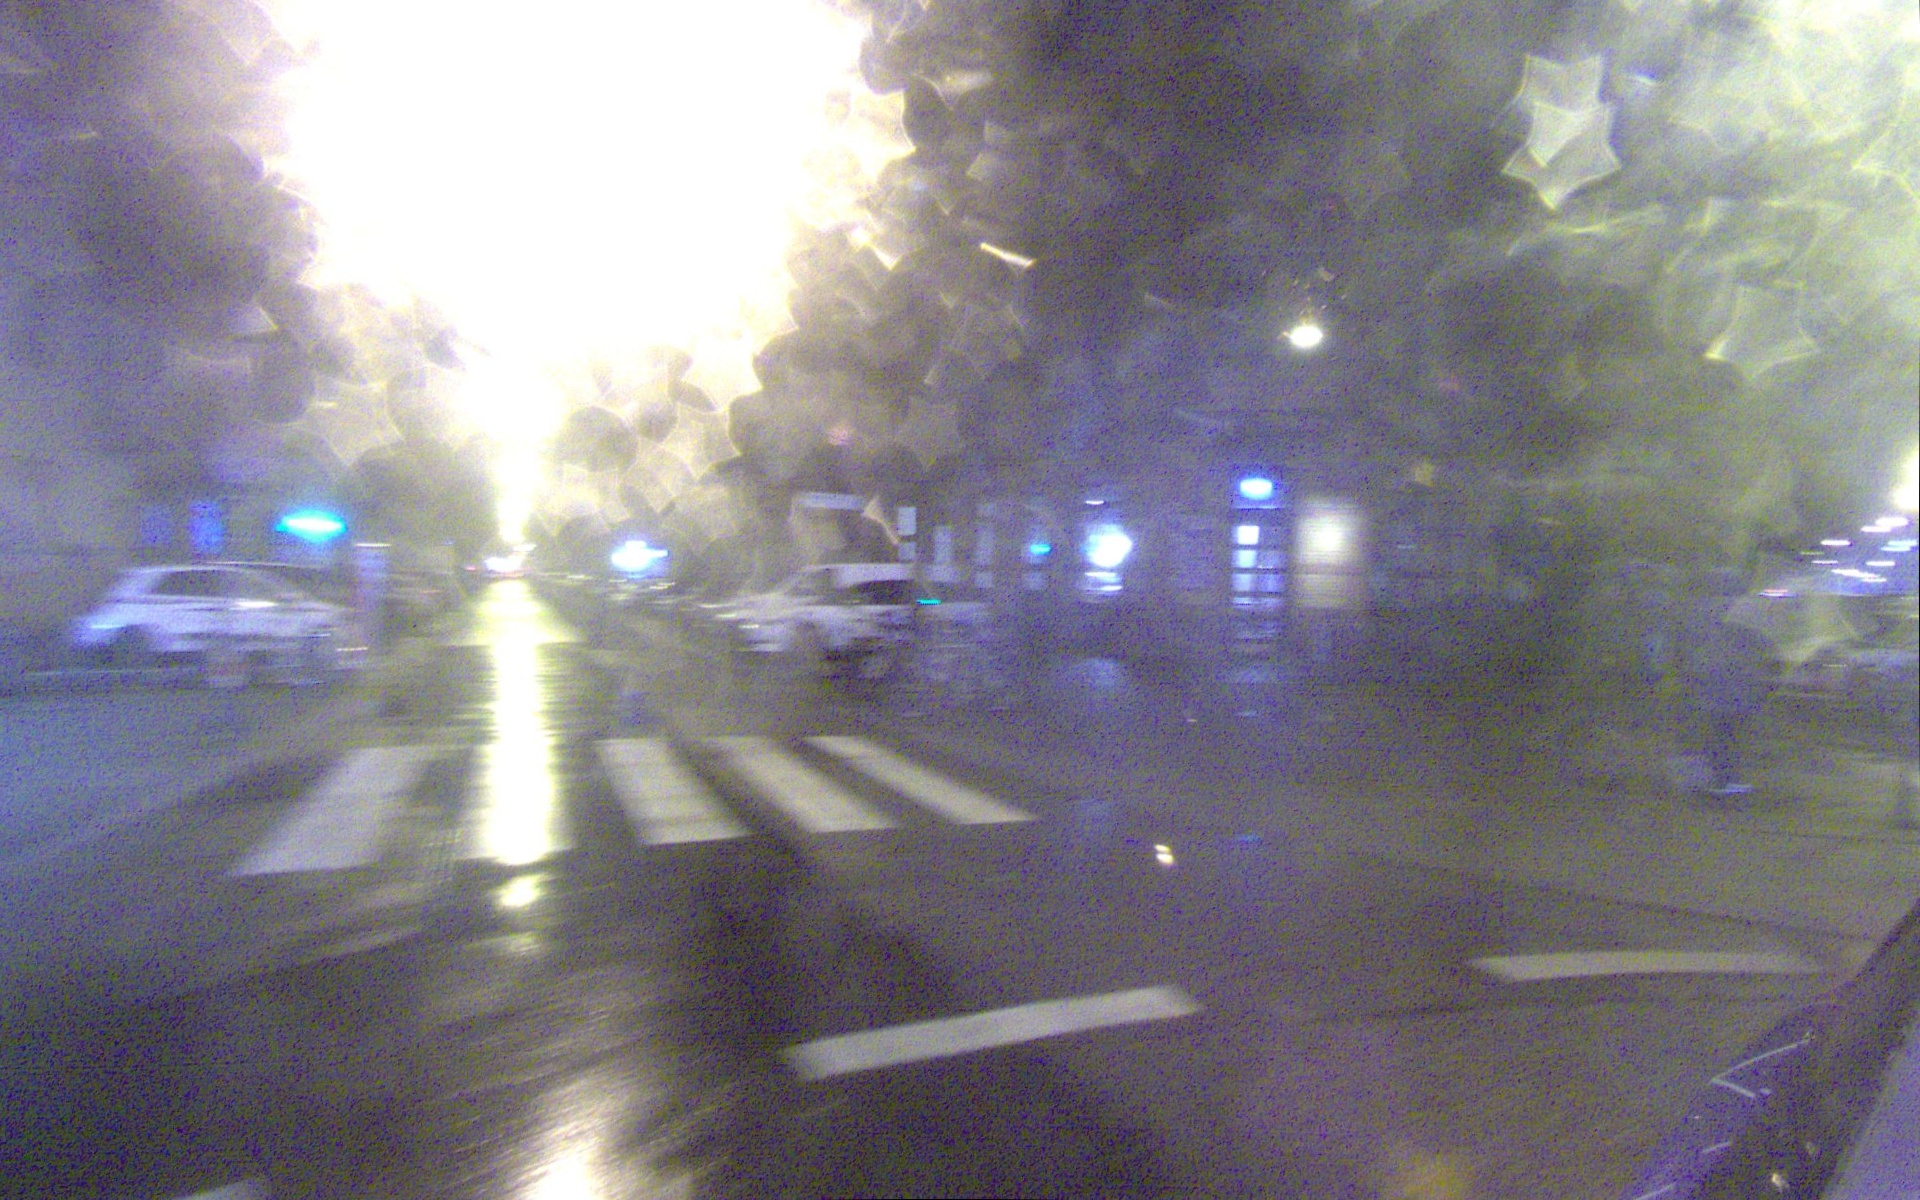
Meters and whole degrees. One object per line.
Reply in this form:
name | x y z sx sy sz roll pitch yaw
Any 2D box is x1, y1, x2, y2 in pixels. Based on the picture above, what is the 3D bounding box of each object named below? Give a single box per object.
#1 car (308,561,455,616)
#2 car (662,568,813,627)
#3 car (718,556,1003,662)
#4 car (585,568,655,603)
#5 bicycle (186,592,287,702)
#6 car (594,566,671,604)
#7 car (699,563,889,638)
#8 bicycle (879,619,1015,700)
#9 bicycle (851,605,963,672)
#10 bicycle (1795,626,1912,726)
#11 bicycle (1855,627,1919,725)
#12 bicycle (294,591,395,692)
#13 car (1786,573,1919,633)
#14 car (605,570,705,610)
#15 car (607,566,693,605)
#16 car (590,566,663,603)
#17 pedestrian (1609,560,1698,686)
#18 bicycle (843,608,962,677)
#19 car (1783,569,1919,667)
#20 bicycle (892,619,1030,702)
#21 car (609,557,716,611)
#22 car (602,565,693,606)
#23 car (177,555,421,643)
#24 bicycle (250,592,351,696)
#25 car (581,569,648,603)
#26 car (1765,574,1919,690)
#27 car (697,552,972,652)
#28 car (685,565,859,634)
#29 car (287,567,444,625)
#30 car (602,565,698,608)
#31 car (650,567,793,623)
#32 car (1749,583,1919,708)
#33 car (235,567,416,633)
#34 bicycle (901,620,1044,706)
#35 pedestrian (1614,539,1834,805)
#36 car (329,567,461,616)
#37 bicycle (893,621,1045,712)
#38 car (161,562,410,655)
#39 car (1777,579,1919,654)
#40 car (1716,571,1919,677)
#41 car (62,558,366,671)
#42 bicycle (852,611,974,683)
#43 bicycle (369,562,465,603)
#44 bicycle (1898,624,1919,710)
car | -18.131 -0.355 31.813 1.748 1.598 3.640 -1 0 40
car | -7.090 -0.080 32.289 4.371 1.785 2.003 0 0 -26
car | -1.853 0.153 19.168 4.992 1.785 2.003 0 0 -26
car | -20.820 -0.882 61.989 3.916 2.039 2.004 1 0 -22
bicycle | -8.454 0.520 11.787 1.955 1.191 0.446 -1 0 39
car | -18.260 -0.831 56.460 3.916 2.039 2.004 1 0 -22
car | -4.223 0.007 25.764 4.371 1.785 2.003 0 0 -26
bicycle | -0.161 0.778 13.509 1.772 1.021 0.404 1 0 -24
bicycle | -0.835 0.608 16.212 1.740 1.021 0.404 1 0 -24
bicycle | 10.992 0.897 12.501 0.331 1.039 1.639 2 2 14
bicycle | 11.562 0.915 12.257 0.331 1.106 1.639 2 1 14
bicycle | -7.774 0.505 12.753 1.955 1.191 0.446 -1 0 39
car | 32.084 0.098 35.291 4.639 2.005 1.973 -1 1 12
car | -12.809 -0.423 42.465 3.916 1.571 2.004 -1 0 -20
car | -15.130 -0.712 49.365 3.916 1.794 2.004 -1 0 -20
car | -19.586 -0.896 59.344 3.916 2.039 2.004 1 0 -22
pedestrian | 10.480 0.312 15.307 0.794 1.839 0.793 -1 2 -24
bicycle | -0.869 0.645 15.555 1.772 1.021 0.404 1 0 -24
car | 21.035 0.406 22.580 3.675 2.053 1.719 2 2 6
bicycle | 0.025 0.772 13.106 1.772 1.021 0.380 1 0 -24
car | -11.743 -0.632 39.886 3.916 2.039 2.004 -1 -1 -20
car | -14.462 -0.678 46.848 3.916 1.794 2.004 -1 0 -20
car | -13.966 -0.034 21.563 1.748 1.684 4.048 -1 0 40
bicycle | -8.058 0.511 12.340 1.955 1.191 0.446 -1 0 39
car | -22.038 -0.869 64.581 3.916 2.039 2.004 1 0 -22
car | 15.656 0.534 16.342 3.676 1.733 1.769 3 2 7
car | -2.613 0.042 21.454 5.433 1.914 2.003 0 0 -26
car | -5.219 -0.008 28.152 4.371 1.785 2.003 0 0 -26
car | -17.468 -0.122 29.829 1.748 1.598 3.640 -1 0 40
car | -13.653 -0.602 44.568 3.916 1.795 2.004 -1 0 -20
car | -8.089 -0.159 34.331 4.371 1.785 2.003 0 0 -26
car | 13.888 0.654 14.024 4.199 1.593 1.765 3 2 13
car | -16.468 -0.005 26.380 1.748 1.598 3.640 -1 0 40
bicycle | 0.170 0.772 12.694 1.772 1.021 0.404 1 0 -24
pedestrian | 5.696 0.496 7.594 0.963 1.856 0.881 0 1 -13
car | -19.547 -0.291 35.120 1.748 1.598 3.640 -1 0 40
bicycle | 0.116 0.776 12.103 1.772 1.021 0.456 1 0 -24
car | -12.780 0.130 19.323 1.748 1.598 3.640 -1 0 40
car | 26.244 0.474 29.118 3.864 1.966 1.742 2 2 4
car | 16.368 0.421 18.398 3.729 1.733 1.746 3 2 7
car | -11.876 0.186 16.278 1.748 1.598 3.640 -1 0 40
bicycle | -0.683 0.692 15.019 1.772 1.021 0.404 1 0 -24
bicycle | -27.860 -0.898 52.028 1.991 2.039 3.942 1 1 40
bicycle | 12.006 0.885 12.083 0.331 1.038 1.642 0 4 11
